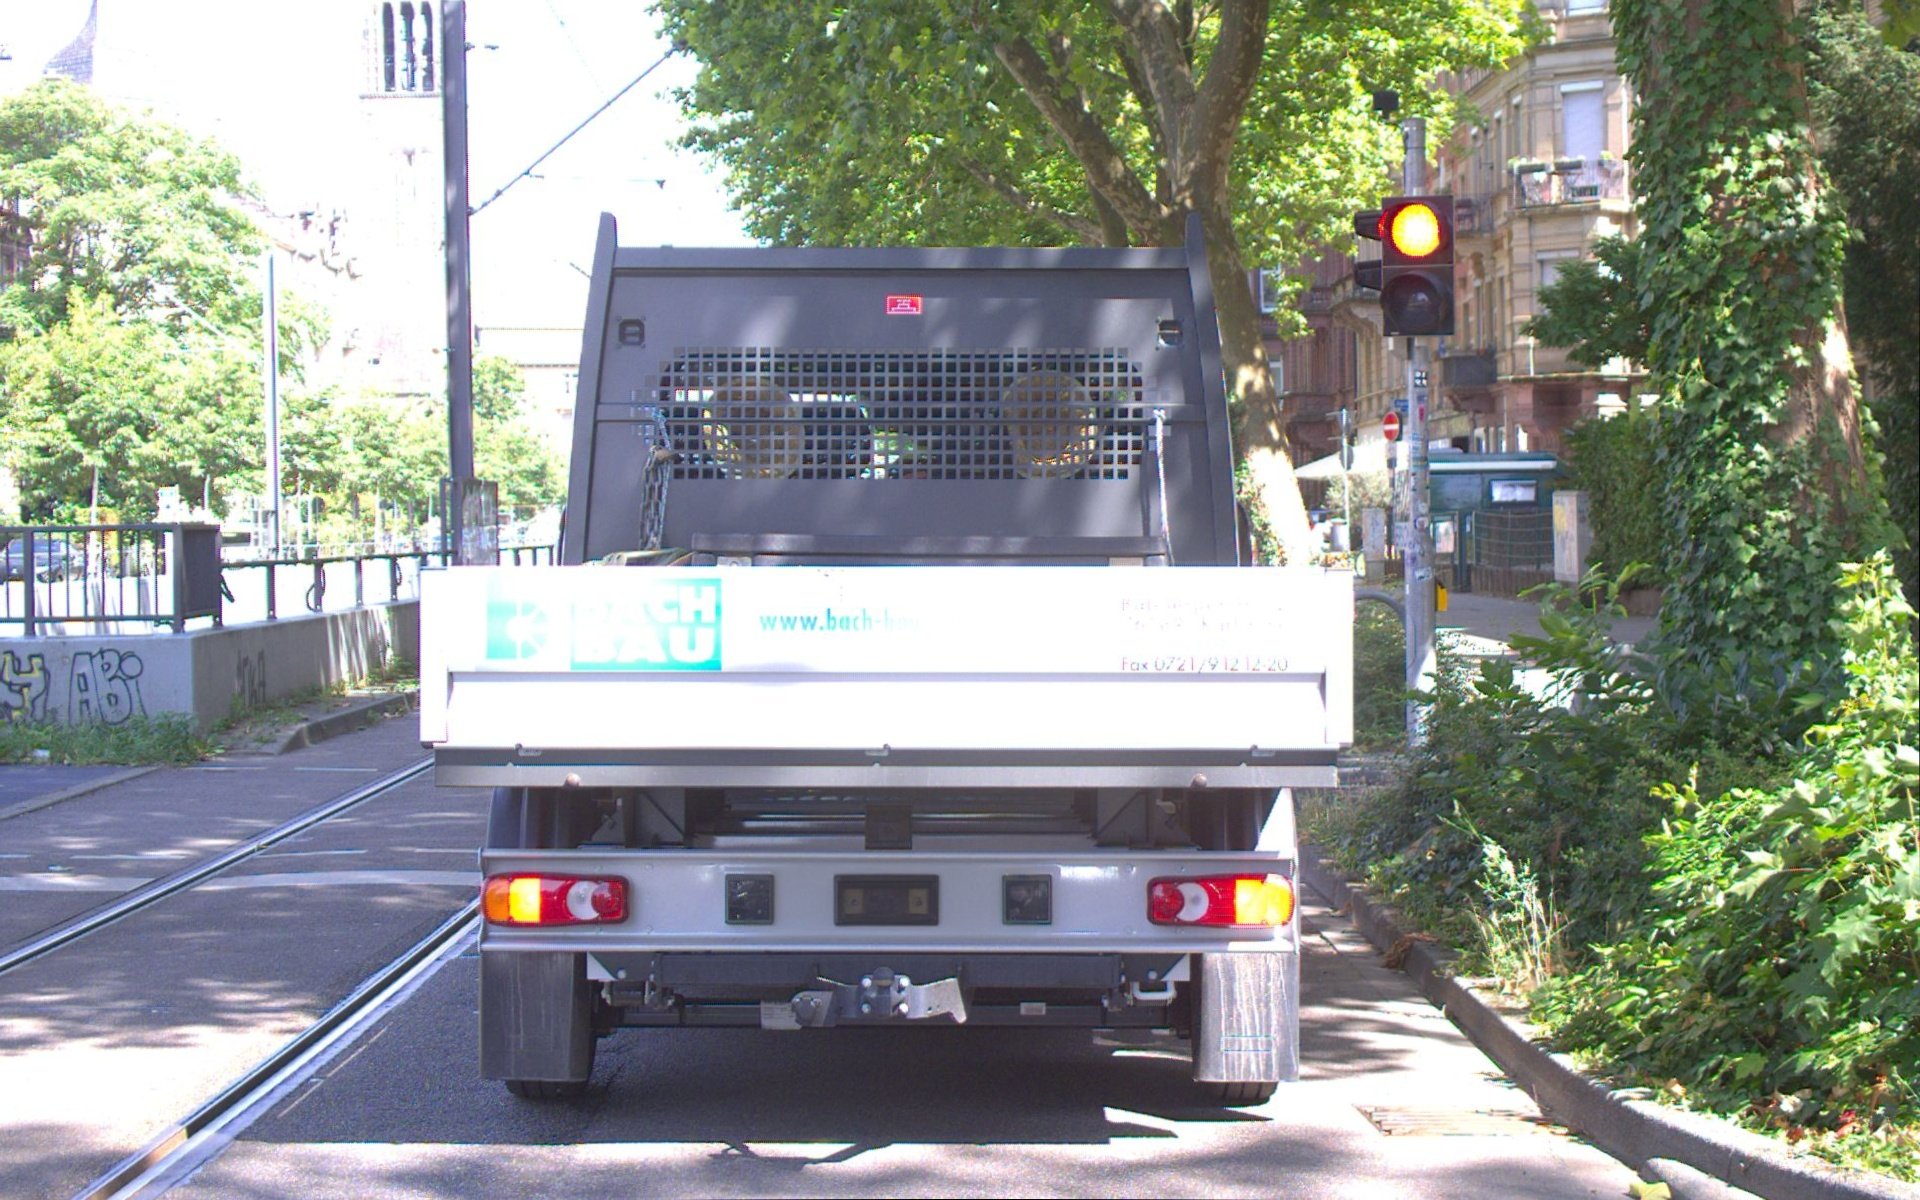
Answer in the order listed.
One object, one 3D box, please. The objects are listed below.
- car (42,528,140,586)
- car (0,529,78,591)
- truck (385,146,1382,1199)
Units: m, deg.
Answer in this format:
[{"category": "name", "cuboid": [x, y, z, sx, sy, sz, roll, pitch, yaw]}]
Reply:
[{"category": "car", "cuboid": [-23.801, -1.196, 94.318, 1.770, 1.493, 4.001, -1, 1, -2]}, {"category": "car", "cuboid": [-23.533, -1.013, 86.483, 1.770, 1.493, 4.001, -1, 1, -2]}, {"category": "truck", "cuboid": [-0.162, 0.129, 9.714, 2.138, 2.311, 4.402, 1, 1, 0]}]
